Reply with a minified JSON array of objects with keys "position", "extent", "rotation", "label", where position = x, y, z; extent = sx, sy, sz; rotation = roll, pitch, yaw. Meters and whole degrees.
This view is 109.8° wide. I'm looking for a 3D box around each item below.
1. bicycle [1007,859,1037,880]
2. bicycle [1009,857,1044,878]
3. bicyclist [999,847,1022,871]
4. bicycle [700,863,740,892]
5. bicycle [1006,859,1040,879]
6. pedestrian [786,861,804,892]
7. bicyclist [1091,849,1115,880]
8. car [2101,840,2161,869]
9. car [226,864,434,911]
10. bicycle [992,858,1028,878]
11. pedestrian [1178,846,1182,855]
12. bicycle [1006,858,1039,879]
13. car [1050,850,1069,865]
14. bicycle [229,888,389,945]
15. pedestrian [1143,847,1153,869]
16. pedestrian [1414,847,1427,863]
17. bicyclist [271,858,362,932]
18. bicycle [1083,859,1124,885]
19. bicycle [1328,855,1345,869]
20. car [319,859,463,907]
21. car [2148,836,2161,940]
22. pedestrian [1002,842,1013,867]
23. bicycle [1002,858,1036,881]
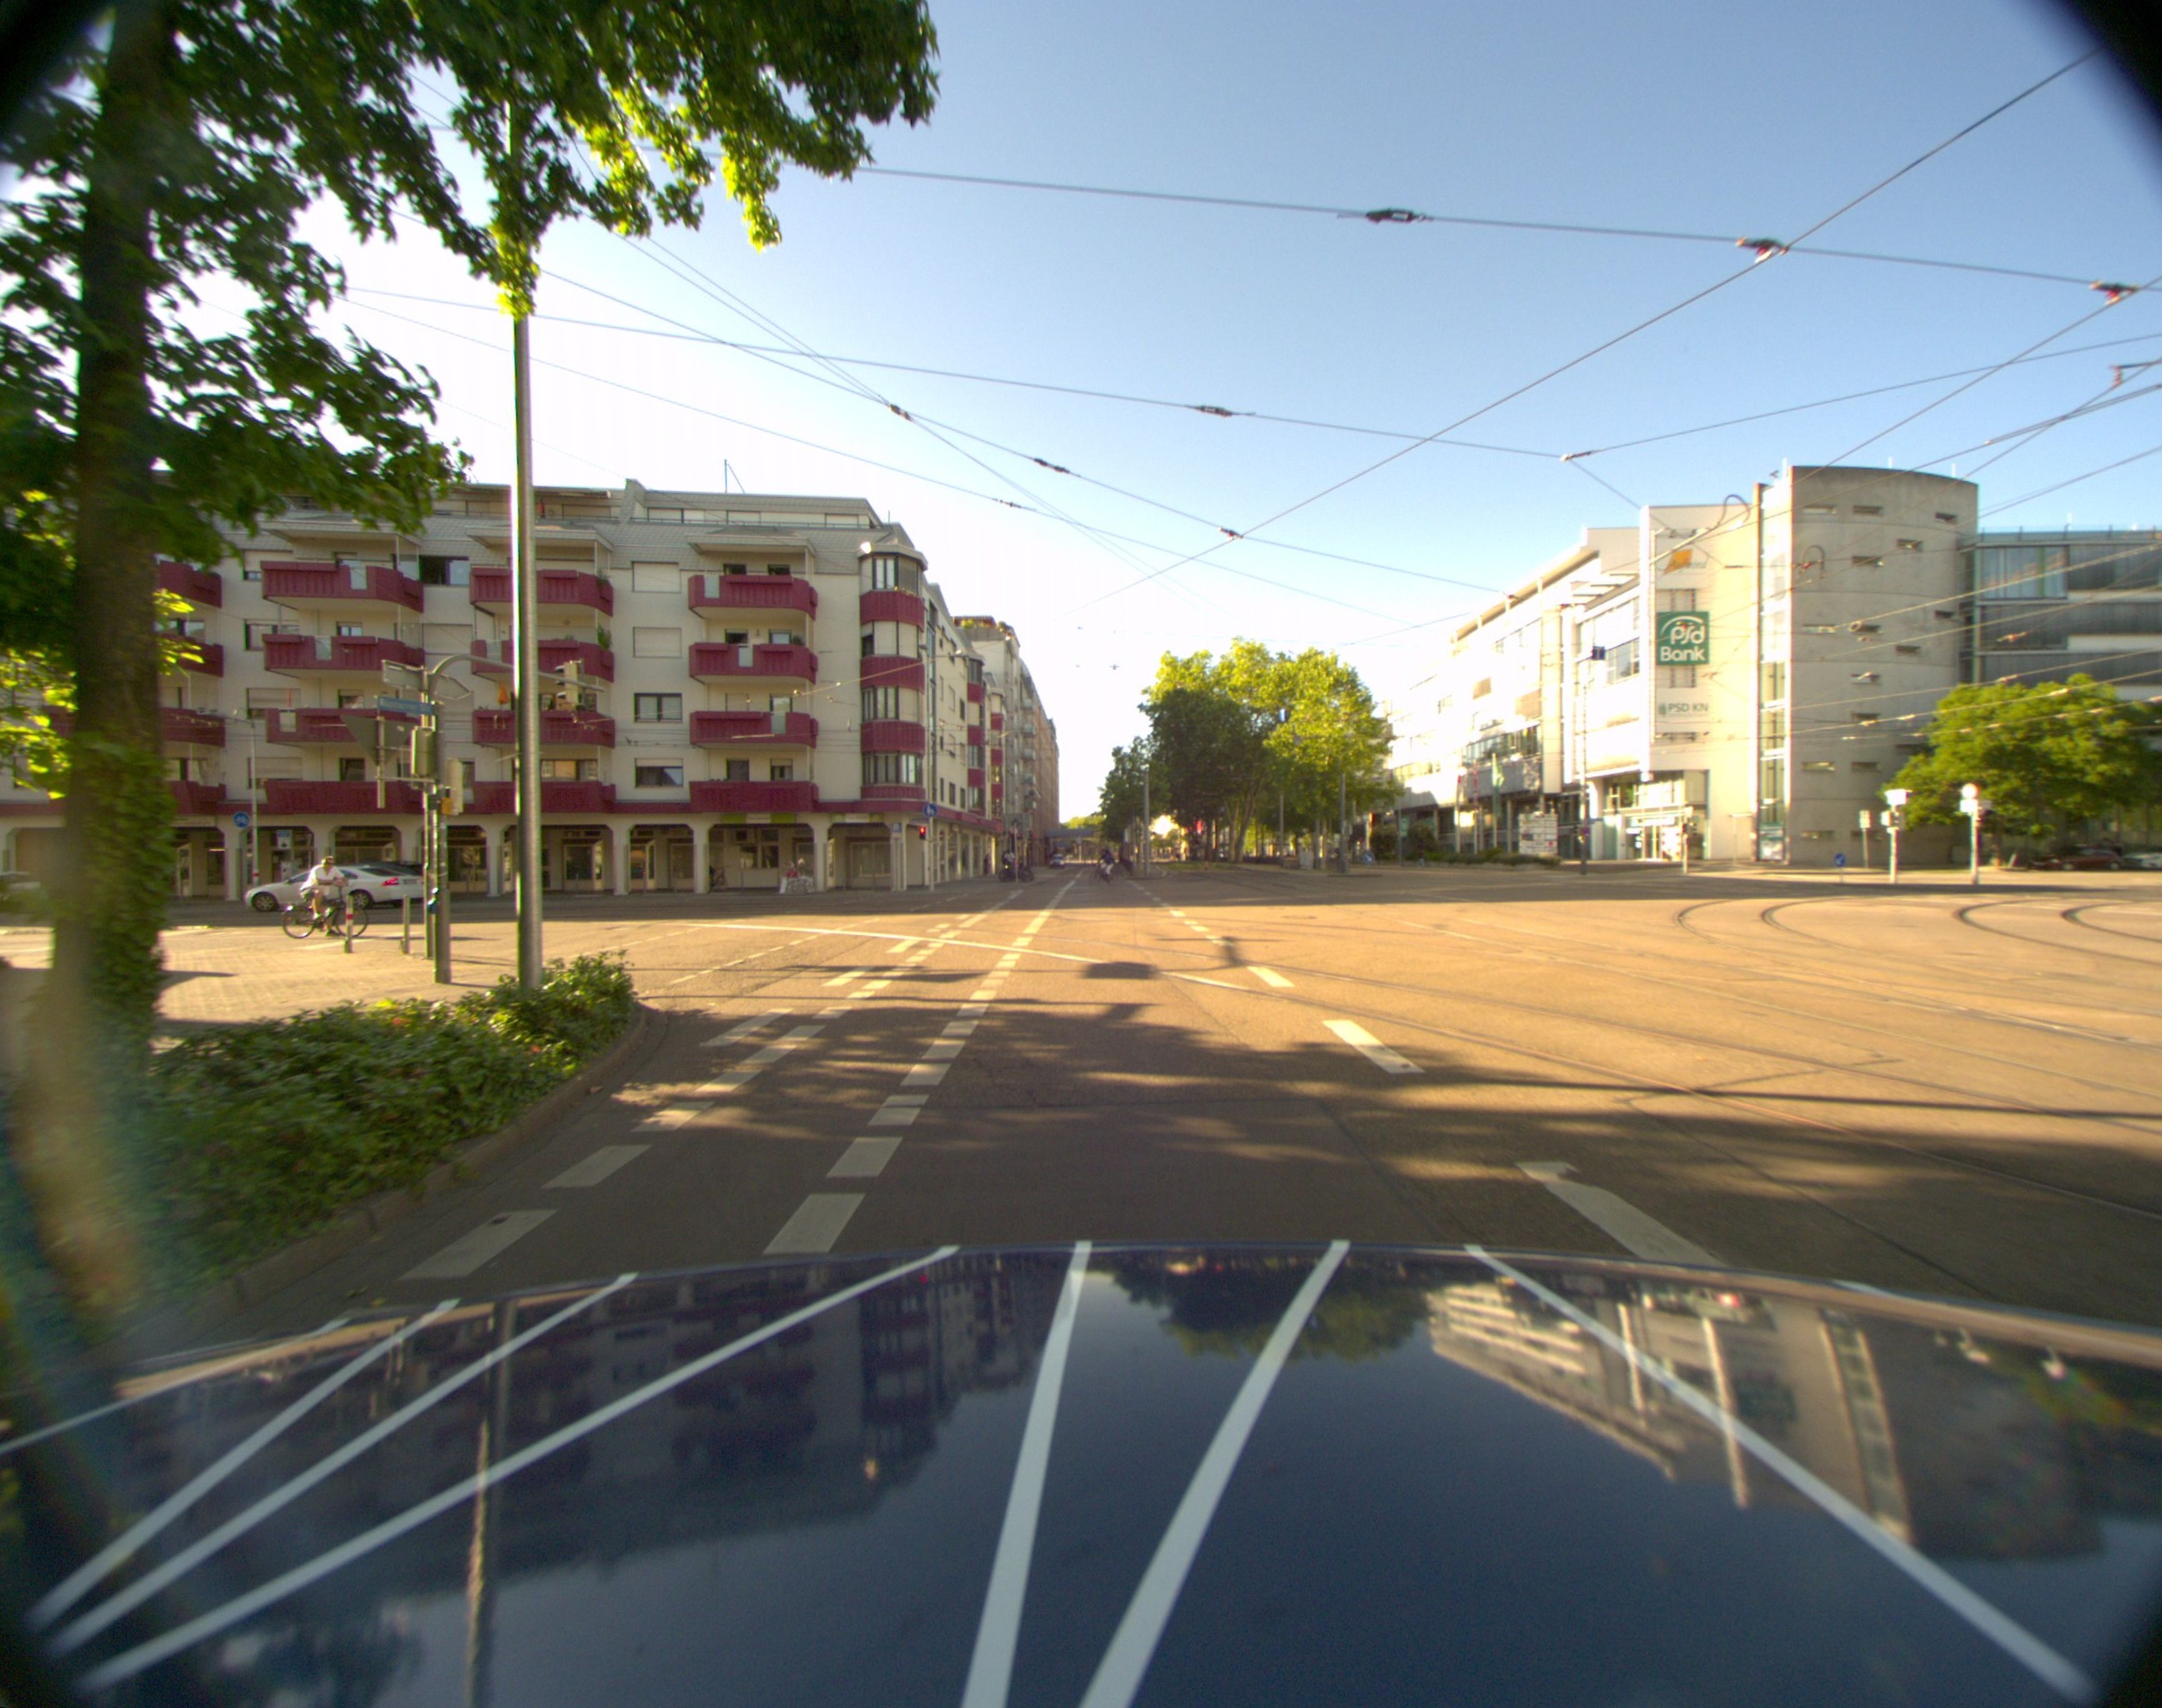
[{"position":[-3.309,0.865,42.703],"extent":[1.626,1.192,0.496],"rotation":[0,1,6],"label":"bicycle"},{"position":[-3.156,0.803,44.160],"extent":[1.982,1.192,0.590],"rotation":[0,1,-2],"label":"bicycle"},{"position":[-4.507,0.303,48.616],"extent":[1.057,1.531,1.081],"rotation":[0,1,30],"label":"bicyclist"},{"position":[-15.559,1.016,32.740],"extent":[1.793,1.192,0.617],"rotation":[0,1,29],"label":"bicycle"},{"position":[-3.415,0.880,44.783],"extent":[1.945,1.163,0.572],"rotation":[0,1,-1],"label":"bicycle"},{"position":[-12.469,0.964,33.078],"extent":[0.664,1.342,0.655],"rotation":[-1,1,-25],"label":"pedestrian"},{"position":[1.066,0.503,36.520],"extent":[0.883,1.485,0.721],"rotation":[-2,1,-37],"label":"bicyclist"},{"position":[62.655,0.020,44.286],"extent":[3.950,1.644,1.735],"rotation":[-1,1,1],"label":"car"},{"position":[-25.353,1.094,25.819],"extent":[4.899,1.447,1.854],"rotation":[-1,0,-6],"label":"car"},{"position":[-4.518,0.870,48.575],"extent":[0.961,1.176,2.603],"rotation":[0,1,30],"label":"bicycle"},{"position":[19.243,-0.595,147.737],"extent":[0.656,1.744,0.676],"rotation":[-1,1,-6],"label":"pedestrian"},{"position":[-3.336,0.831,43.274],"extent":[1.835,1.214,0.496],"rotation":[0,1,5],"label":"bicycle"},{"position":[-2.557,0.374,89.752],"extent":[1.837,1.613,4.285],"rotation":[2,1,3],"label":"car"},{"position":[-16.455,1.315,16.259],"extent":[2.331,1.112,0.845],"rotation":[-1,1,-9],"label":"bicycle"},{"position":[5.406,0.317,60.975],"extent":[0.735,1.736,0.712],"rotation":[-1,1,7],"label":"pedestrian"},{"position":[32.640,0.079,72.980],"extent":[0.908,1.583,0.767],"rotation":[0,1,2],"label":"pedestrian"},{"position":[-16.332,0.852,16.273],"extent":[0.928,1.500,1.011],"rotation":[-1,1,-9],"label":"bicyclist"},{"position":[1.083,0.846,36.524],"extent":[2.046,1.182,0.589],"rotation":[-2,1,-37],"label":"bicycle"},{"position":[17.824,0.552,52.951],"extent":[0.814,0.940,1.727],"rotation":[-1,0,8],"label":"bicycle"},{"position":[-26.629,1.095,29.433],"extent":[3.905,1.674,1.738],"rotation":[-2,1,0],"label":"car"},{"position":[17.961,0.536,9.651],"extent":[1.999,1.607,4.753],"rotation":[0,0,-4],"label":"car"},{"position":[-5.488,0.047,57.041],"extent":[0.724,1.847,0.801],"rotation":[0,1,1],"label":"pedestrian"},{"position":[-3.422,0.858,41.969],"extent":[1.805,1.193,0.546],"rotation":[0,2,6],"label":"bicycle"}]
